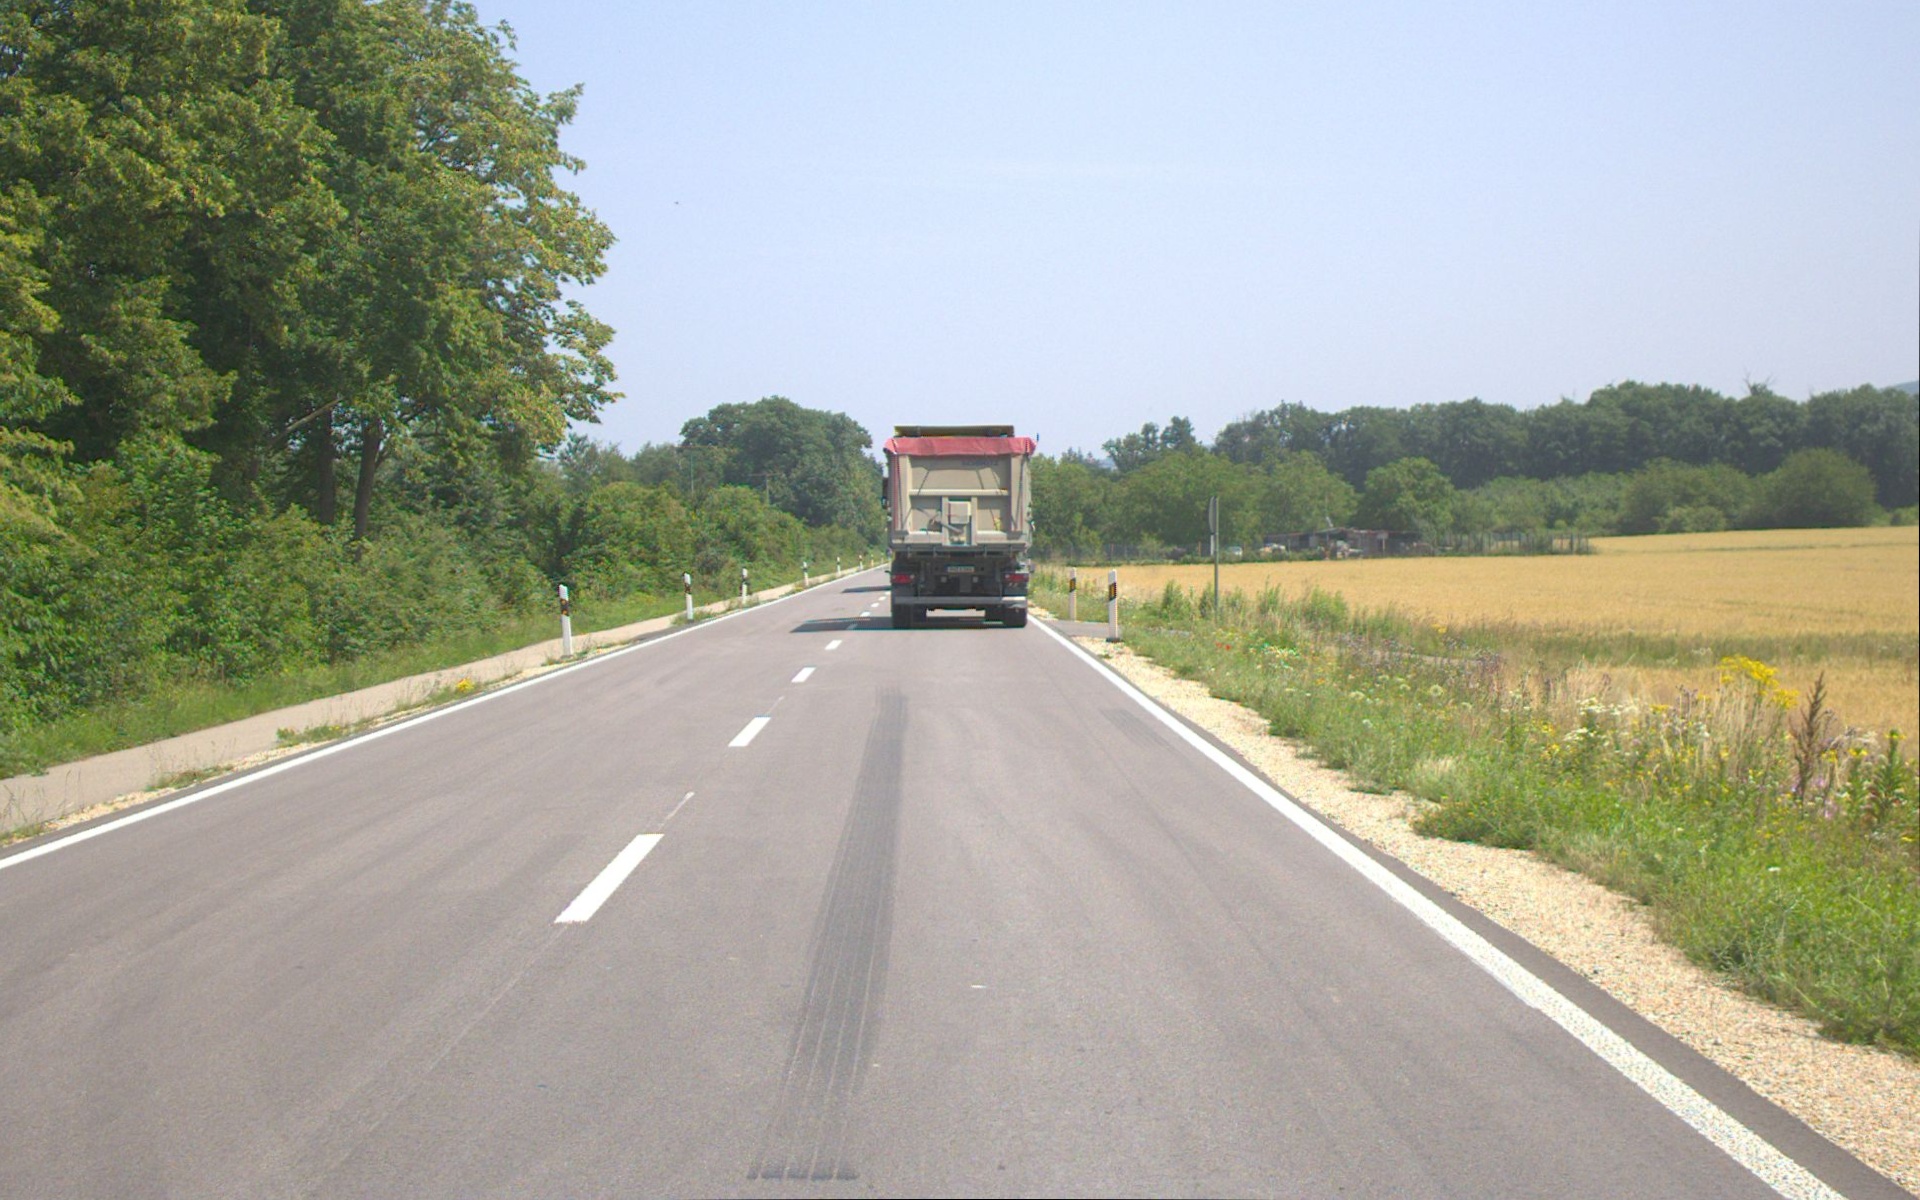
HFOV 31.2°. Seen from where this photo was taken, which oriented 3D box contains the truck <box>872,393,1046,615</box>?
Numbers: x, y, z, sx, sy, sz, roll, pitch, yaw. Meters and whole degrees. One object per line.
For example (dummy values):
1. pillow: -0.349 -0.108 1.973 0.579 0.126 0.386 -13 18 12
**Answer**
1. truck: -0.054 -1.747 66.340 3.009 3.861 12.209 0 1 0
